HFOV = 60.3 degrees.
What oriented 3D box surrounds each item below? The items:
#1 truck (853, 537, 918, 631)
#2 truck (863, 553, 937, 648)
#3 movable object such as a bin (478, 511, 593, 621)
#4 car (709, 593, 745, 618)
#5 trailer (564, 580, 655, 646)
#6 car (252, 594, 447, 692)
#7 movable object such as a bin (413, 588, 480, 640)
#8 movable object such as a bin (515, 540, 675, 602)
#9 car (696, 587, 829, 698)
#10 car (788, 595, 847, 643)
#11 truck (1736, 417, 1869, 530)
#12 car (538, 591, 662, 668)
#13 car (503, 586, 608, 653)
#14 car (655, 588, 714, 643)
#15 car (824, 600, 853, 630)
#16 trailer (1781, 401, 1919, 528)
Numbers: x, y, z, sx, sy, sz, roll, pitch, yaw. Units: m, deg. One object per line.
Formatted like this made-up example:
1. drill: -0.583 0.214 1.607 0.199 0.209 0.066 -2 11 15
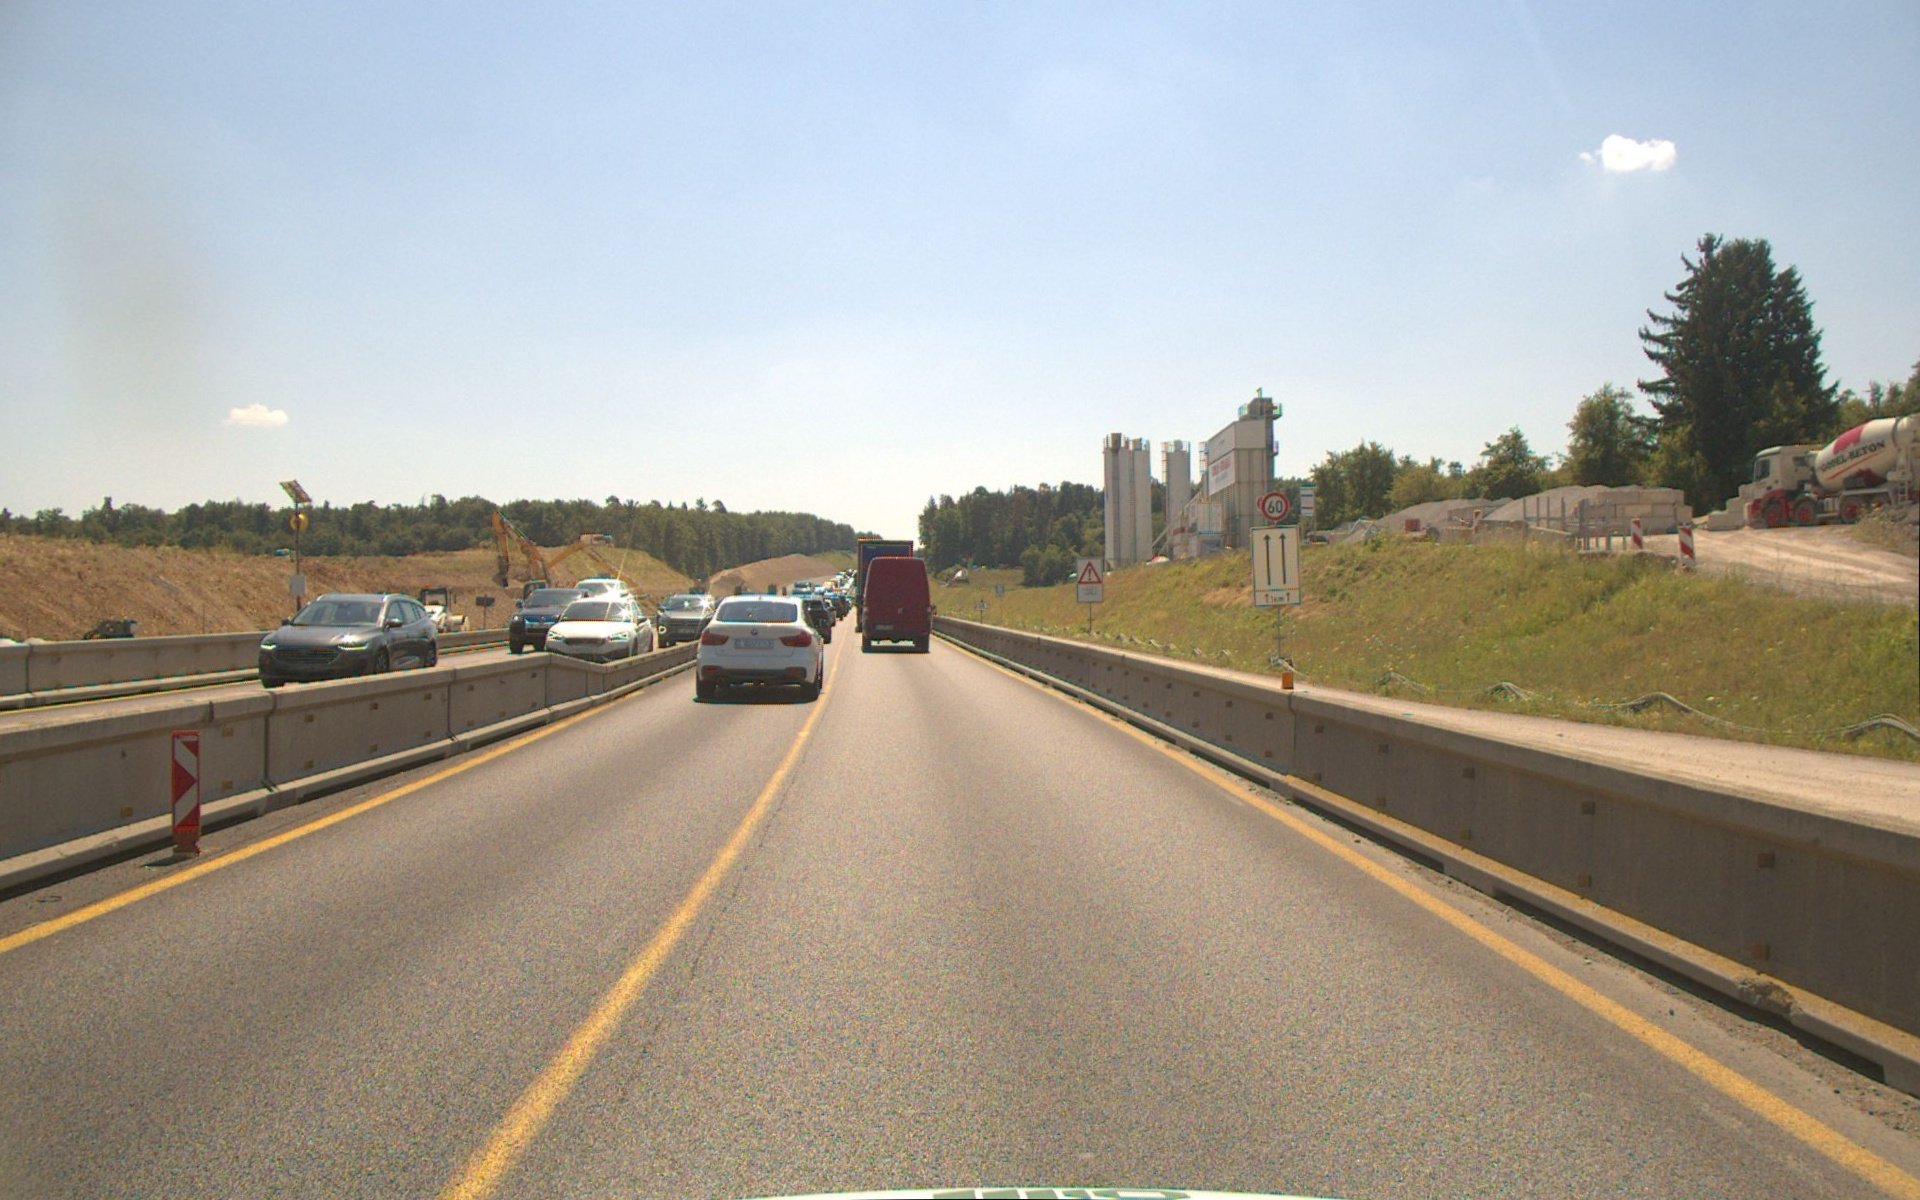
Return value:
1. truck: -3.581 -0.742 79.318 2.955 4.225 8.267 0 0 -3
2. truck: -1.897 -0.005 50.137 2.070 2.679 6.479 0 0 -4
3. movable object such as a bin: -30.874 -2.479 120.527 7.483 7.848 3.444 0 0 -2
4. car: -14.524 0.347 103.240 1.823 1.527 4.573 0 0 -3
5. trailer: -11.307 0.376 53.694 2.088 2.016 5.231 0 1 -3
6. car: -9.818 0.630 26.984 1.786 1.448 4.643 0 0 -5
7. movable object such as a bin: -26.018 0.681 84.084 1.668 2.504 6.739 0 0 -3
8. movable object such as a bin: -43.802 -3.474 199.022 18.349 7.358 3.611 0 0 -6
9. car: -2.989 0.604 25.909 1.759 1.561 5.069 1 0 -3
10. car: -4.818 0.621 56.409 1.758 1.561 3.930 0 0 -1
11. truck: 33.310 -4.930 65.528 2.697 4.167 4.088 0 0 -12
12. car: -7.398 0.570 34.371 1.780 1.481 4.632 0 0 -3
13. car: -10.866 0.492 44.732 1.885 1.708 4.714 0 0 -3
14. car: -8.320 0.447 50.243 1.662 1.607 4.126 0 0 -8
15. car: -8.425 1.028 115.045 1.954 2.049 3.997 0 0 -3
16. trailer: 34.136 -4.907 61.653 2.708 4.186 6.725 0 0 -12
